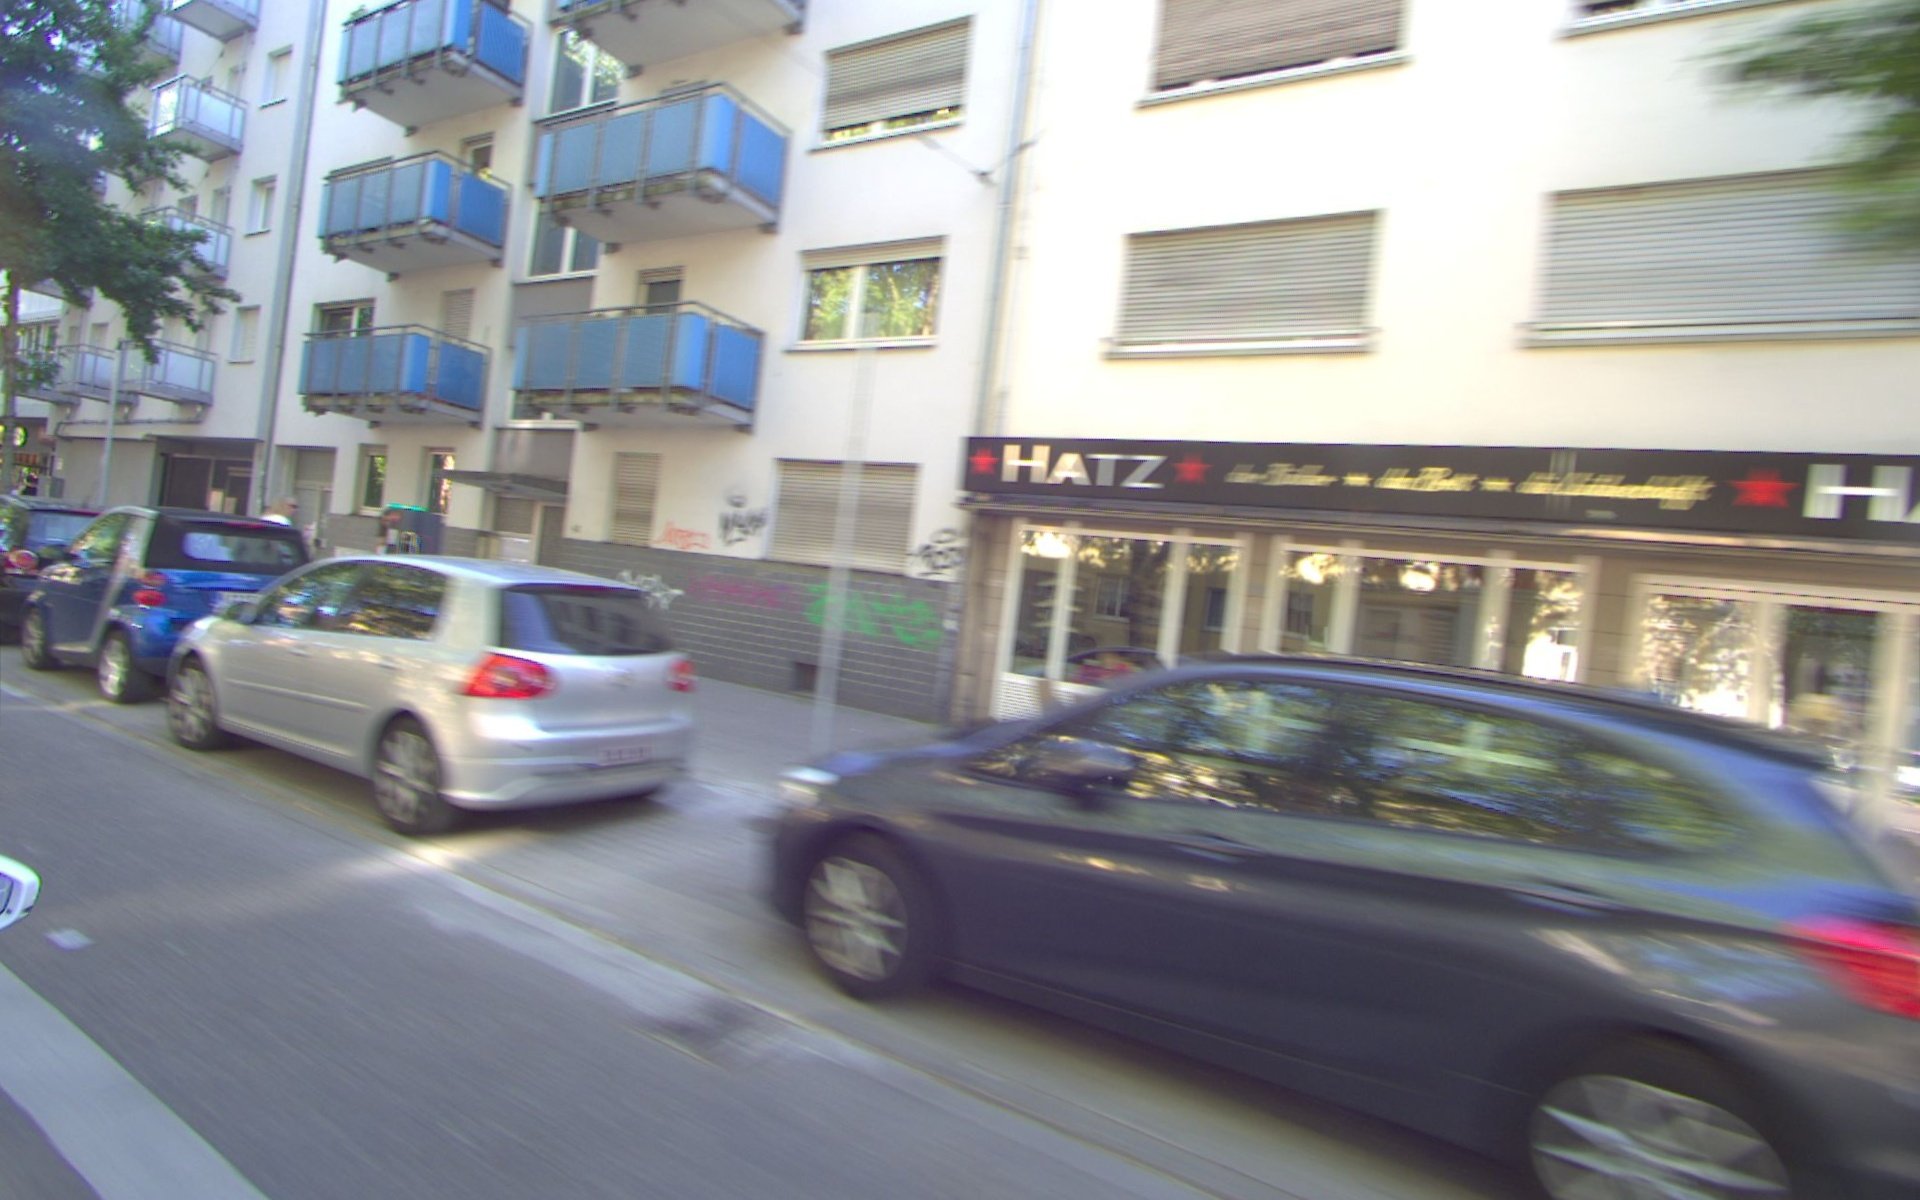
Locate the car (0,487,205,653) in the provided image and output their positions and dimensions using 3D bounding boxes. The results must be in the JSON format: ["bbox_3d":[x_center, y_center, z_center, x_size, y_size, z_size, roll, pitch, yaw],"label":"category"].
[{"bbox_3d":[-10.190,-0.428,11.006,3.823,1.501,1.624,7,2,29],"label":"car"}]

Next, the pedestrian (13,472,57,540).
[{"bbox_3d":[-26.745,-2.702,29.088,0.519,1.826,0.630,7,-1,-15],"label":"pedestrian"}]

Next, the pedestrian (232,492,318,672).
[{"bbox_3d":[-7.497,-0.203,11.016,0.652,1.879,0.476,6,6,21],"label":"pedestrian"}]

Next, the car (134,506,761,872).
[{"bbox_3d":[-3.520,0.377,6.717,4.058,1.557,1.787,7,2,31],"label":"car"}]

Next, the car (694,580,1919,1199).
[{"bbox_3d":[1.176,0.950,4.021,4.186,1.592,1.721,7,2,28],"label":"car"}]

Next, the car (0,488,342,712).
[{"bbox_3d":[-7.060,-0.042,8.942,2.833,1.557,1.445,7,2,31],"label":"car"}]

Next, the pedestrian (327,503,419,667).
[{"bbox_3d":[-7.073,-0.178,12.115,0.653,1.874,0.538,7,0,34],"label":"pedestrian"}]

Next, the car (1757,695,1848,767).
[{"bbox_3d":[34.857,5.365,41.731,1.927,2.544,3.996,7,-1,29],"label":"car"}]

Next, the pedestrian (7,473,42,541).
[{"bbox_3d":[-26.090,-2.598,28.066,0.481,1.817,0.432,7,-1,30],"label":"pedestrian"}]
